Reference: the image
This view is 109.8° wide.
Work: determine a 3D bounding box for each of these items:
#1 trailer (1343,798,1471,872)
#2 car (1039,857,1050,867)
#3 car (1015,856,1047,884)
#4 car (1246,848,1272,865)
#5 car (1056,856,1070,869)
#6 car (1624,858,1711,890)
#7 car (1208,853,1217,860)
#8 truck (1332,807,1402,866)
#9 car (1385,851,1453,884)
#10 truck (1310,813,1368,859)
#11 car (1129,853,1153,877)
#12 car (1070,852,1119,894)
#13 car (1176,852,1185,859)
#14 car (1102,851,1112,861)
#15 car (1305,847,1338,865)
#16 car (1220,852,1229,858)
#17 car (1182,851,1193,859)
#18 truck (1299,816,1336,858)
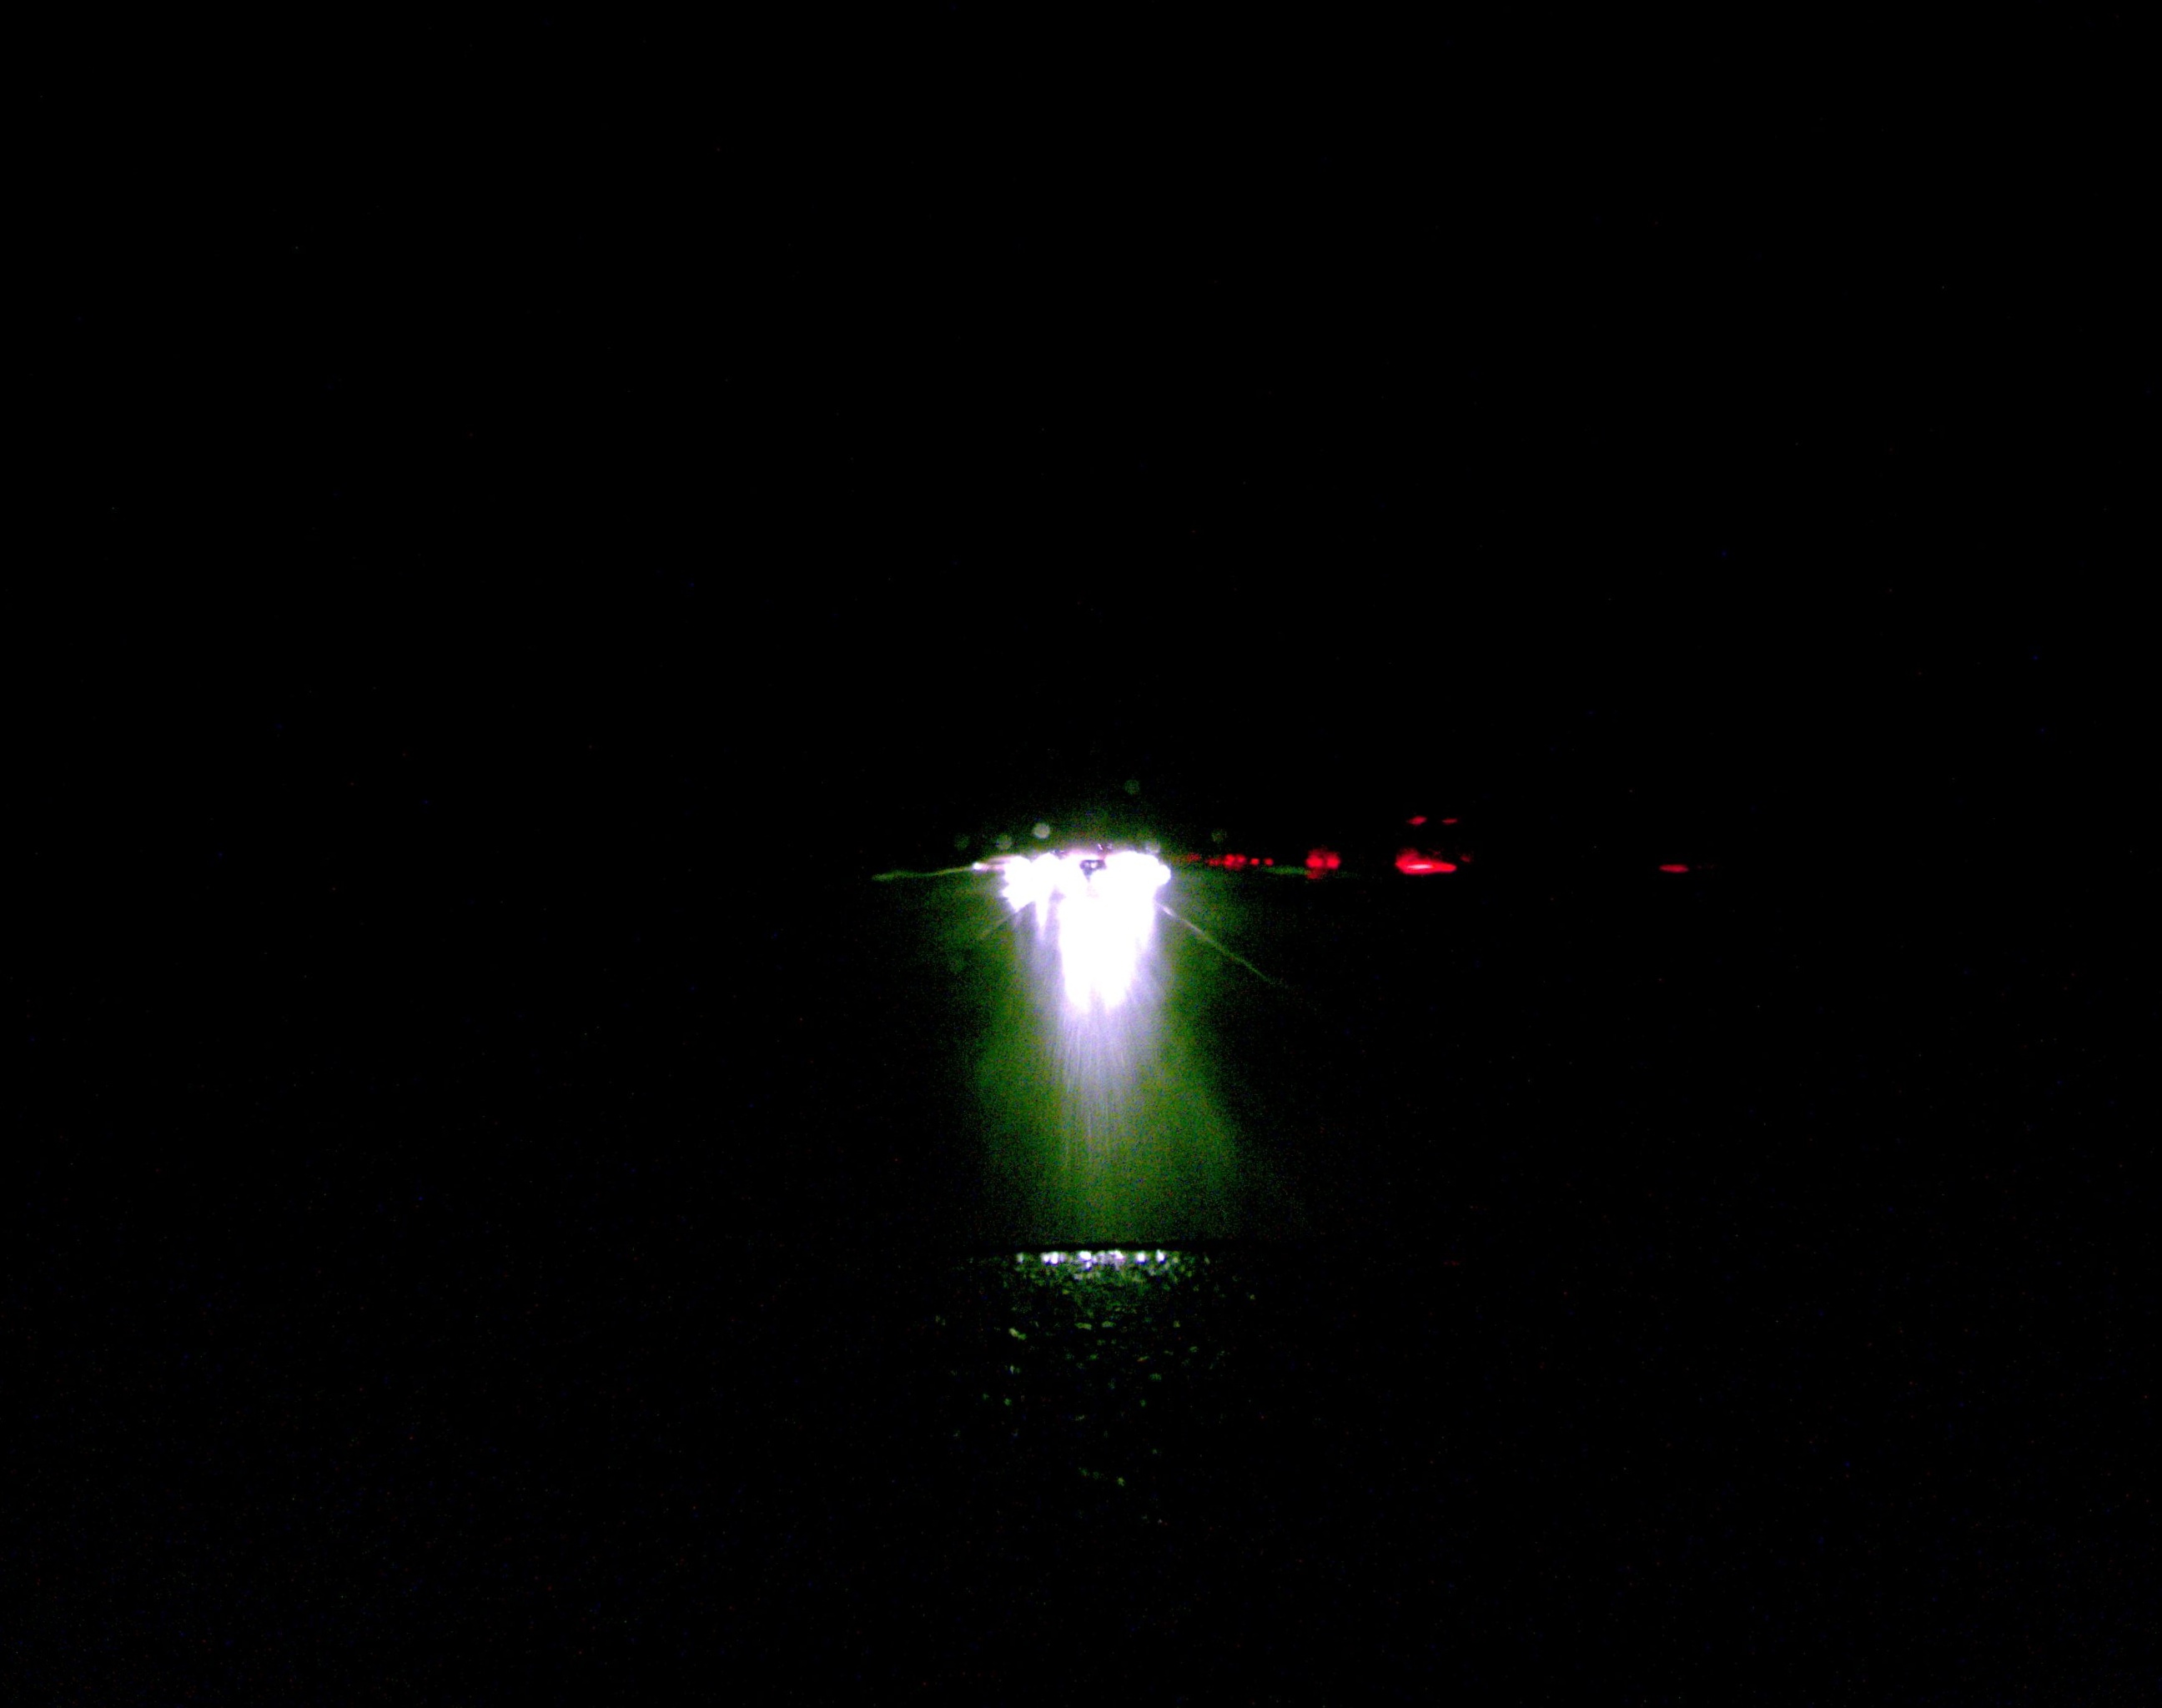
[{"bbox_3d":[25.206,-1.401,60.139,3.798,4.999,14.799,-2,1,1],"label":"trailer"},{"bbox_3d":[-6.514,1.460,135.571,1.755,1.563,3.999,-2,1,1],"label":"car"},{"bbox_3d":[-3.329,1.057,51.298,1.792,1.681,3.999,-2,1,1],"label":"car"},{"bbox_3d":[17.428,0.247,74.622,1.661,1.504,3.999,-2,1,1],"label":"car"},{"bbox_3d":[-2.853,1.380,121.767,1.998,1.852,3.999,-2,1,1],"label":"car"},{"bbox_3d":[31.802,1.038,41.354,1.661,1.504,3.999,-2,1,1],"label":"car"},{"bbox_3d":[35.932,0.609,207.562,1.874,1.701,3.813,-2,1,2],"label":"car"},{"bbox_3d":[25.339,-1.488,67.707,3.798,4.881,6.477,-2,1,1],"label":"truck"},{"bbox_3d":[16.967,0.658,38.352,1.661,1.504,3.945,-2,1,1],"label":"car"},{"bbox_3d":[33.404,-2.281,99.178,3.247,5.559,12.794,-2,1,1],"label":"truck"},{"bbox_3d":[4.693,0.819,59.915,1.611,1.775,3.910,-2,1,1],"label":"car"},{"bbox_3d":[0.564,0.789,33.550,1.960,1.655,4.915,-2,0,1],"label":"car"},{"bbox_3d":[26.875,0.371,205.036,1.912,1.894,4.144,-2,1,2],"label":"car"},{"bbox_3d":[5.015,0.393,148.849,1.800,1.728,3.999,-2,1,1],"label":"car"},{"bbox_3d":[21.005,0.129,66.539,1.661,1.504,3.999,-2,1,1],"label":"car"},{"bbox_3d":[35.610,0.221,188.673,1.747,1.491,3.204,-2,1,2],"label":"car"},{"bbox_3d":[22.854,0.198,163.133,1.724,1.744,4.396,-2,1,-1],"label":"car"},{"bbox_3d":[33.450,-2.376,107.805,3.247,5.559,5.877,-2,1,1],"label":"truck"}]
